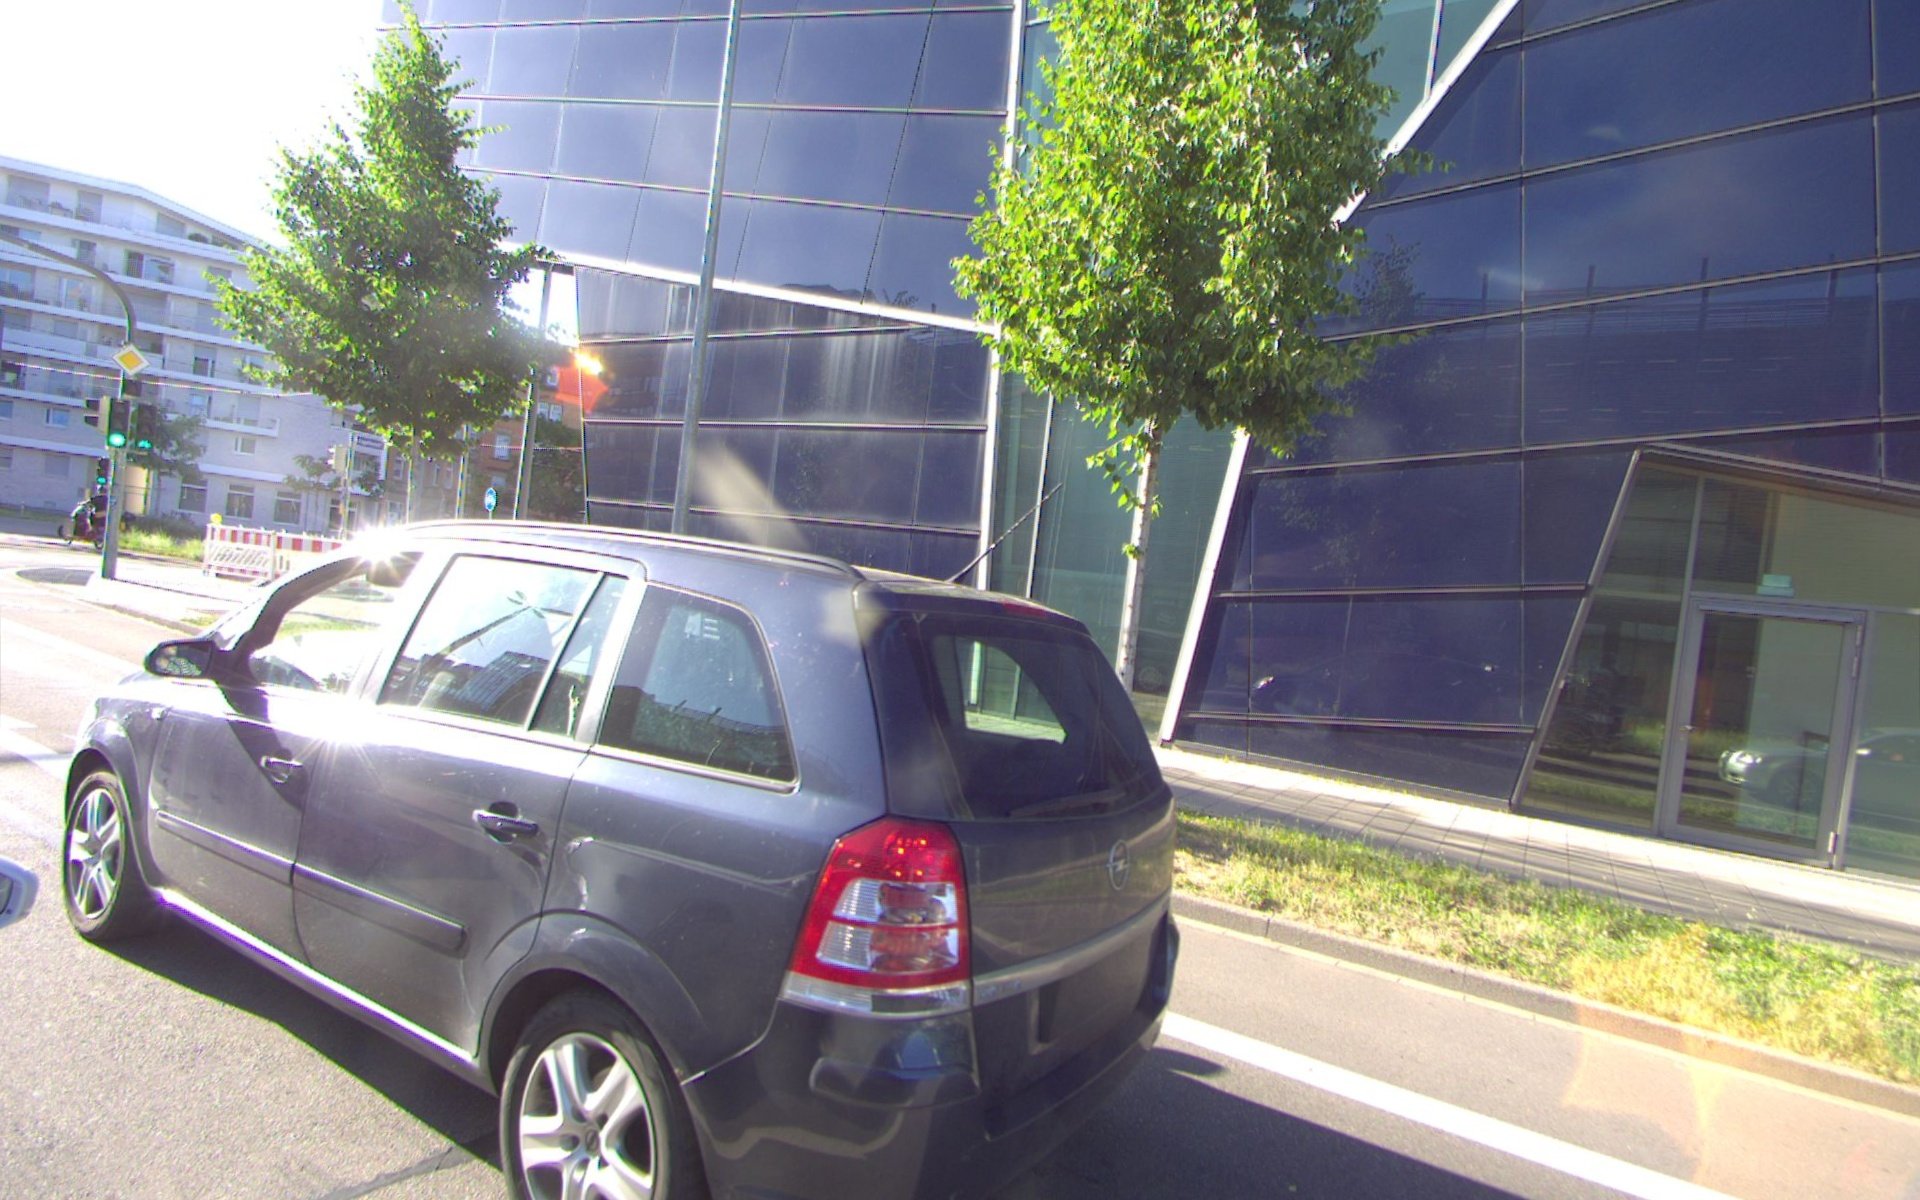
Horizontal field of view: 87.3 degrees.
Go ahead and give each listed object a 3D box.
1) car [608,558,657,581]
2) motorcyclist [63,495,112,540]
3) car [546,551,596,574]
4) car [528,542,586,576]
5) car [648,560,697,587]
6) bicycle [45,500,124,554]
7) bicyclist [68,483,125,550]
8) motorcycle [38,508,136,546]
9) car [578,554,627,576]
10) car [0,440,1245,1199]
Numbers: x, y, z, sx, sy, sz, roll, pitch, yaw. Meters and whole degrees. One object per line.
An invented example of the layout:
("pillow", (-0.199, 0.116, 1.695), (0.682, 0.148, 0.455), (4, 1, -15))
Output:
("car", (-26.943, -2.508, 82.795), (3.944, 1.505, 1.990), (6, 0, 41))
("motorcyclist", (-32.521, -3.073, 37.497), (1.151, 1.500, 0.926), (7, 1, 28))
("car", (-30.976, -3.004, 80.117), (3.944, 1.371, 1.990), (6, 0, 41))
("car", (-35.325, -3.606, 88.247), (4.542, 2.339, 1.989), (7, 0, -23))
("car", (-24.091, -2.226, 84.178), (3.944, 1.794, 1.990), (6, 1, 41))
("bicycle", (-25.221, -2.107, 28.986), (2.043, 1.278, 0.768), (7, 1, 21))
("bicyclist", (-24.714, -2.384, 28.803), (0.913, 1.728, 0.768), (7, 1, 21))
("motorcycle", (-32.539, -2.720, 37.546), (1.151, 1.013, 2.457), (7, 0, 28))
("car", (-29.021, -2.820, 81.549), (3.944, 1.371, 1.990), (6, 0, 41))
("car", (-1.433, 0.542, 3.485), (4.190, 1.715, 1.750), (7, -2, 31))
